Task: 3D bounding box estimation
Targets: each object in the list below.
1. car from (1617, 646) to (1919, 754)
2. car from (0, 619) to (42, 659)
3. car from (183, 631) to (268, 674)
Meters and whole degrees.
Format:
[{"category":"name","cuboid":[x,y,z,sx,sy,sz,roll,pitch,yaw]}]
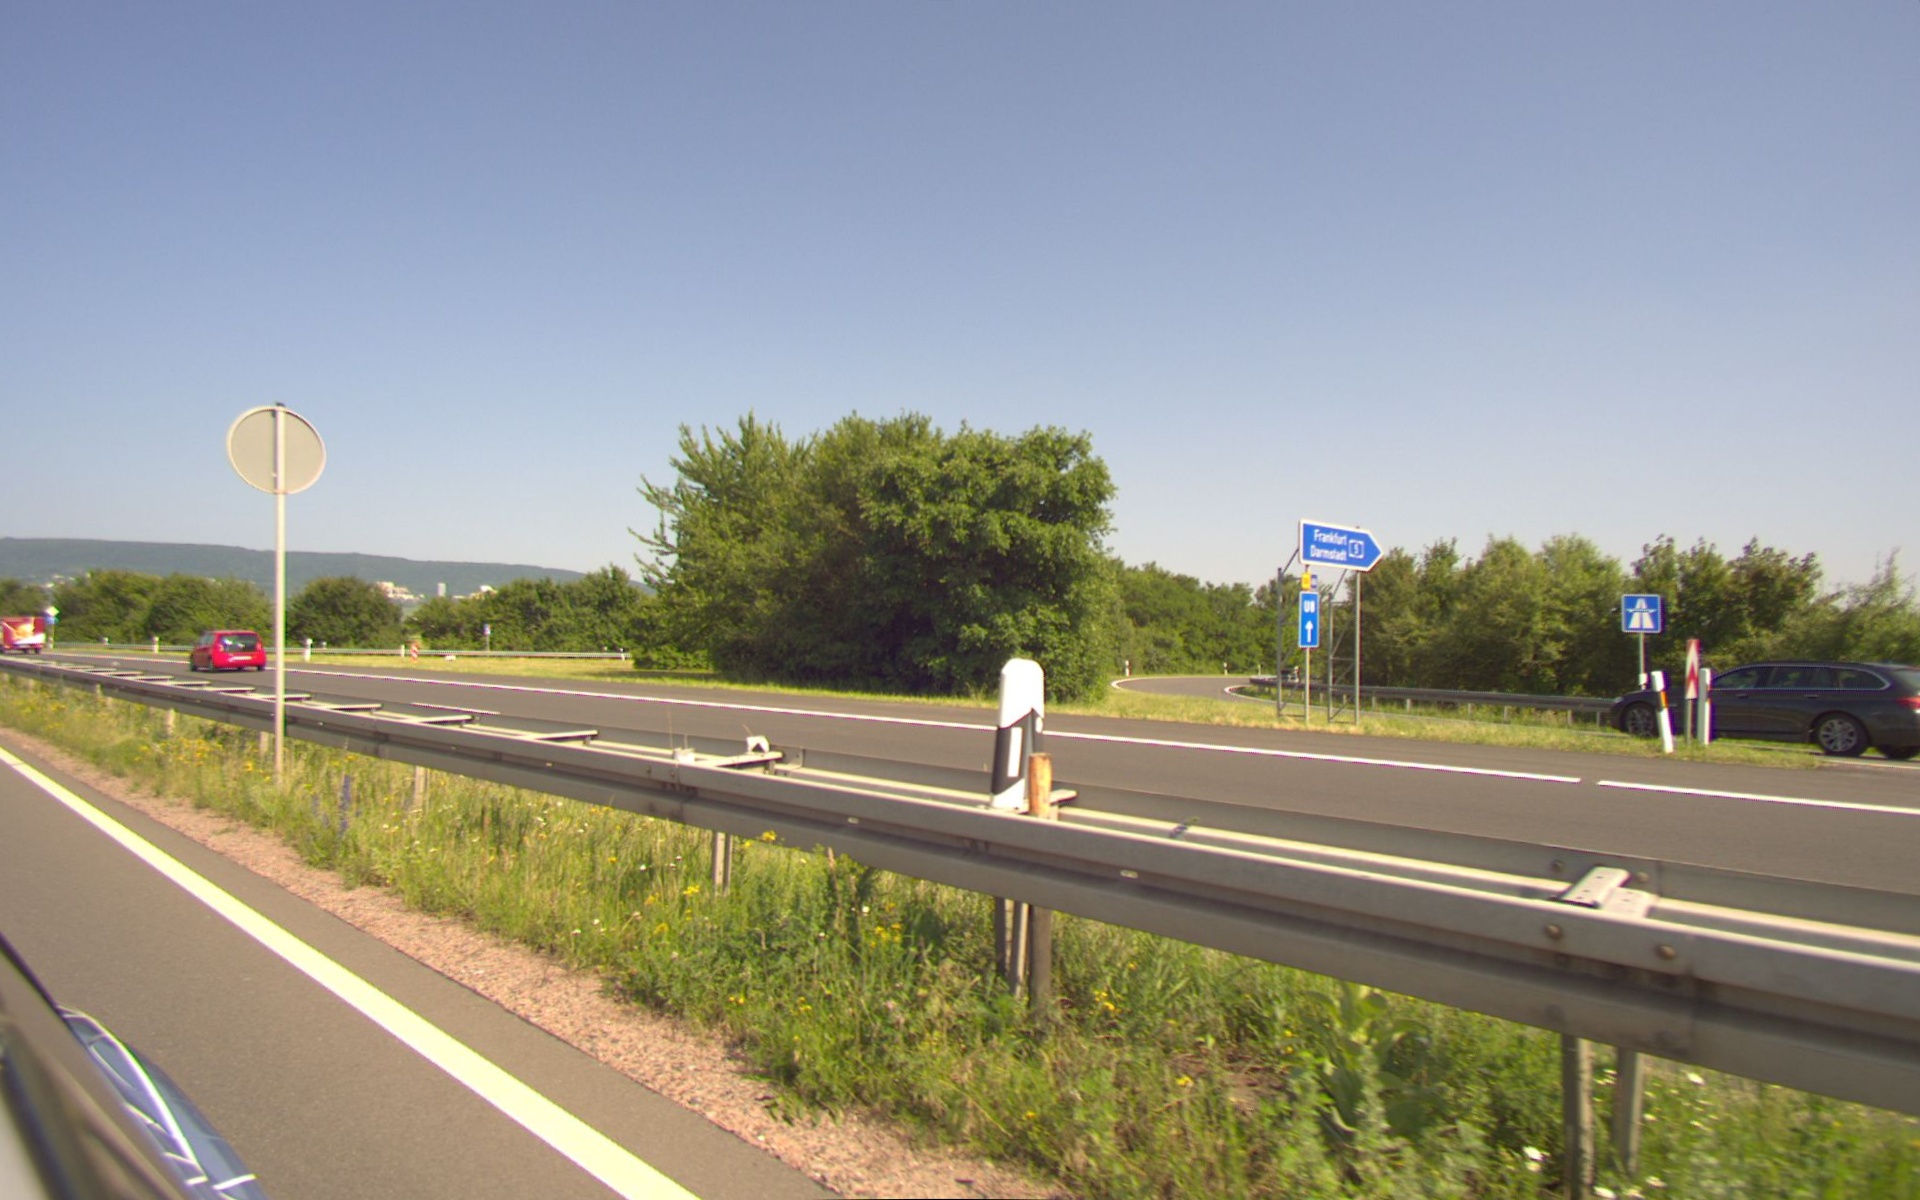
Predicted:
[{"category":"car","cuboid":[13.391,1.545,16.093,1.570,1.505,4.829,5,-5,-25]},{"category":"car","cuboid":[-60.597,2.436,64.646,5.876,2.392,2.093,-1,-1,40]},{"category":"car","cuboid":[-26.462,1.878,36.426,3.765,1.468,1.612,-2,-3,41]}]
